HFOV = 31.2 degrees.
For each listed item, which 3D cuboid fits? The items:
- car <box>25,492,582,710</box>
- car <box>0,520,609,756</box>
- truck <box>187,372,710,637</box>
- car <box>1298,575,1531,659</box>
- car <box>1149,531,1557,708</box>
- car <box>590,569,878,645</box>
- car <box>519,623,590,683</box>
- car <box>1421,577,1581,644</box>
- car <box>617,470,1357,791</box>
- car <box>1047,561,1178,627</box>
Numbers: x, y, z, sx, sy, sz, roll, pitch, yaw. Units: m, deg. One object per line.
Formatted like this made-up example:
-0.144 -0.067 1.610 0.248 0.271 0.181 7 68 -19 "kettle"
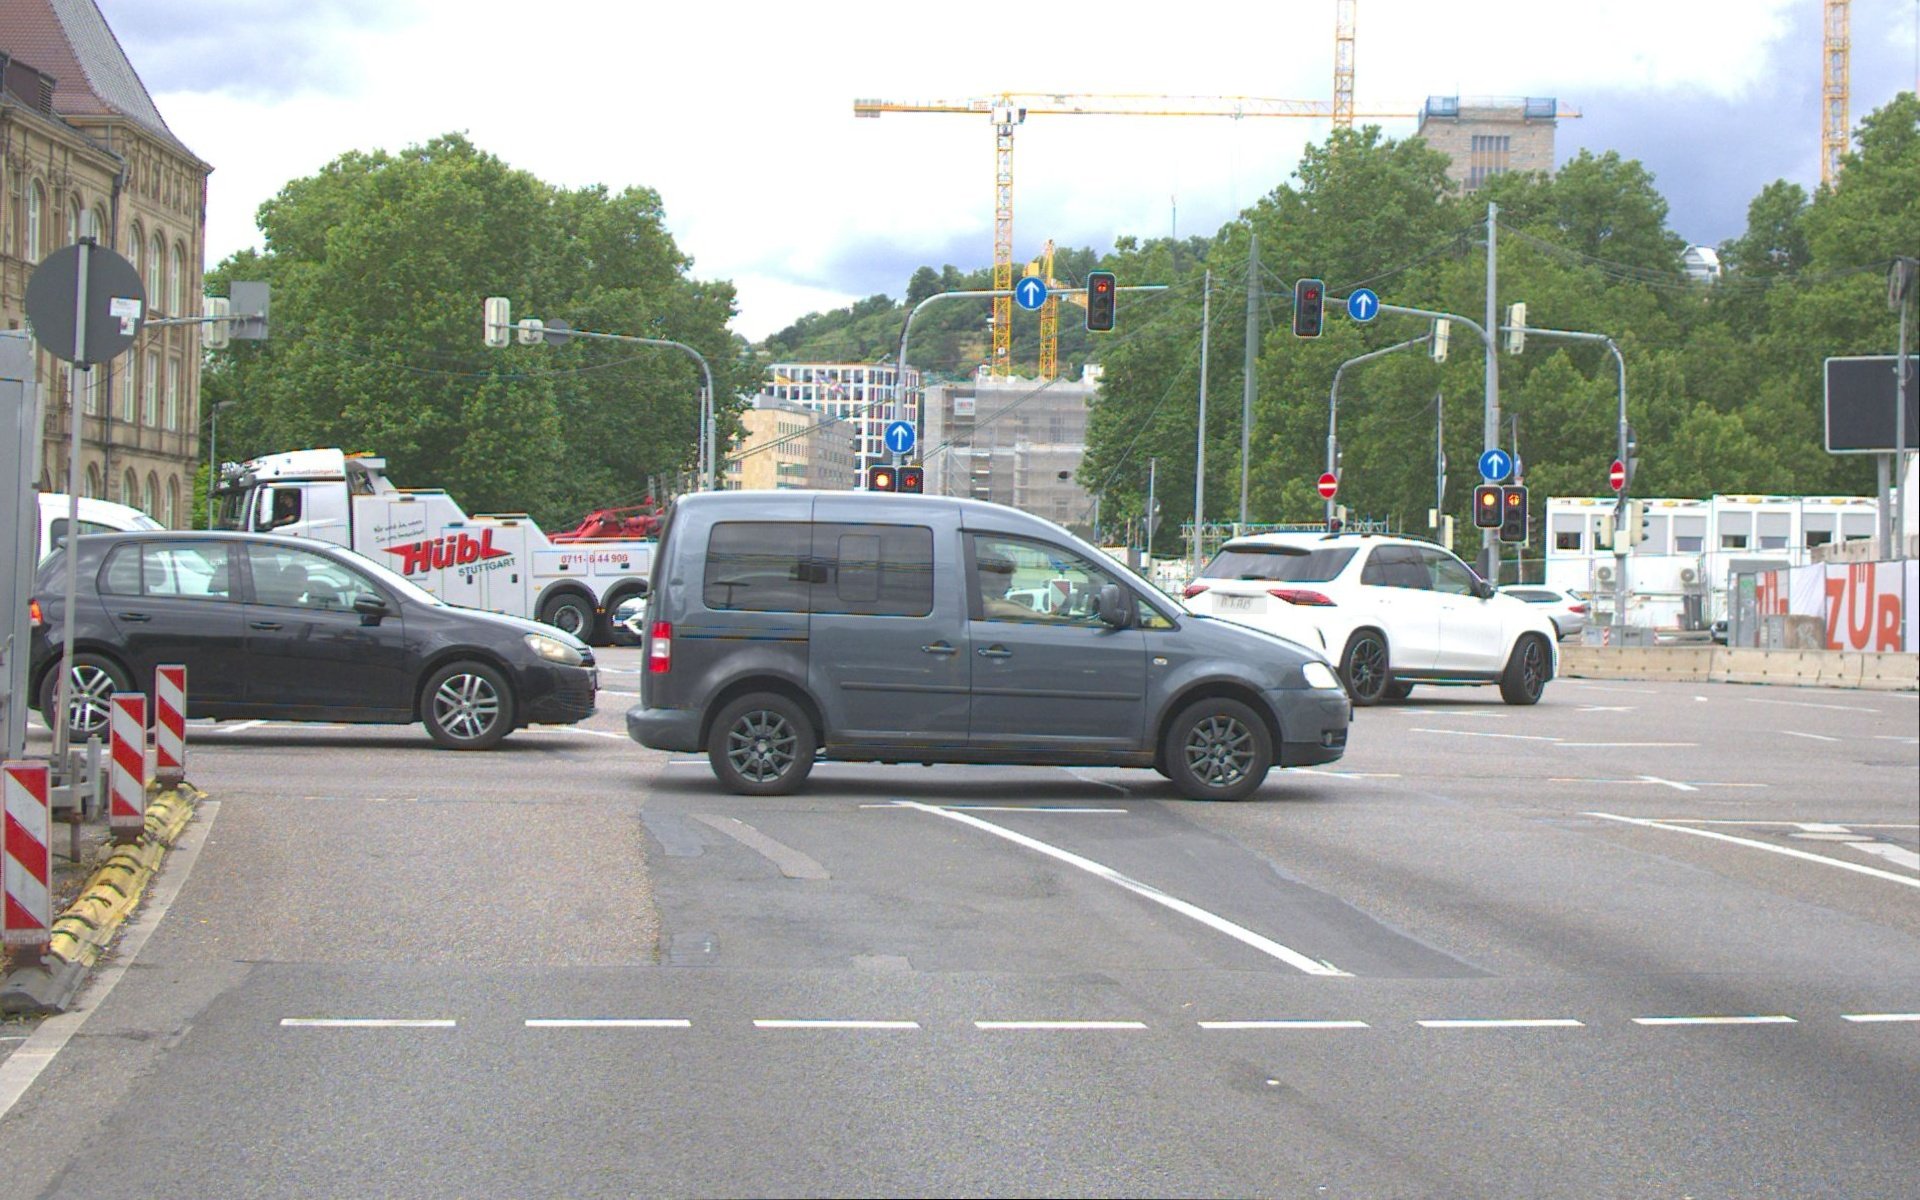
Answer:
-5.773 0.003 30.699 4.705 1.827 1.870 1 0 -5 "car"
-4.575 0.249 24.208 4.106 1.542 2.000 1 0 -4 "car"
-10.095 -1.808 68.067 9.712 4.943 3.114 1 0 -23 "truck"
9.721 0.363 73.492 4.583 1.718 1.909 1 1 -23 "car"
4.219 0.183 36.394 1.998 1.753 4.493 1 1 43 "car"
-4.397 0.133 66.966 5.132 1.415 2.238 1 1 -23 "car"
-13.065 1.690 110.926 1.993 1.831 4.001 1 1 -3 "car"
14.077 0.258 89.402 3.955 1.667 1.917 1 0 13 "car"
0.140 0.169 20.924 4.269 1.799 2.000 1 0 -1 "car"
4.369 -0.187 99.218 1.993 1.831 4.001 1 1 -28 "car"
